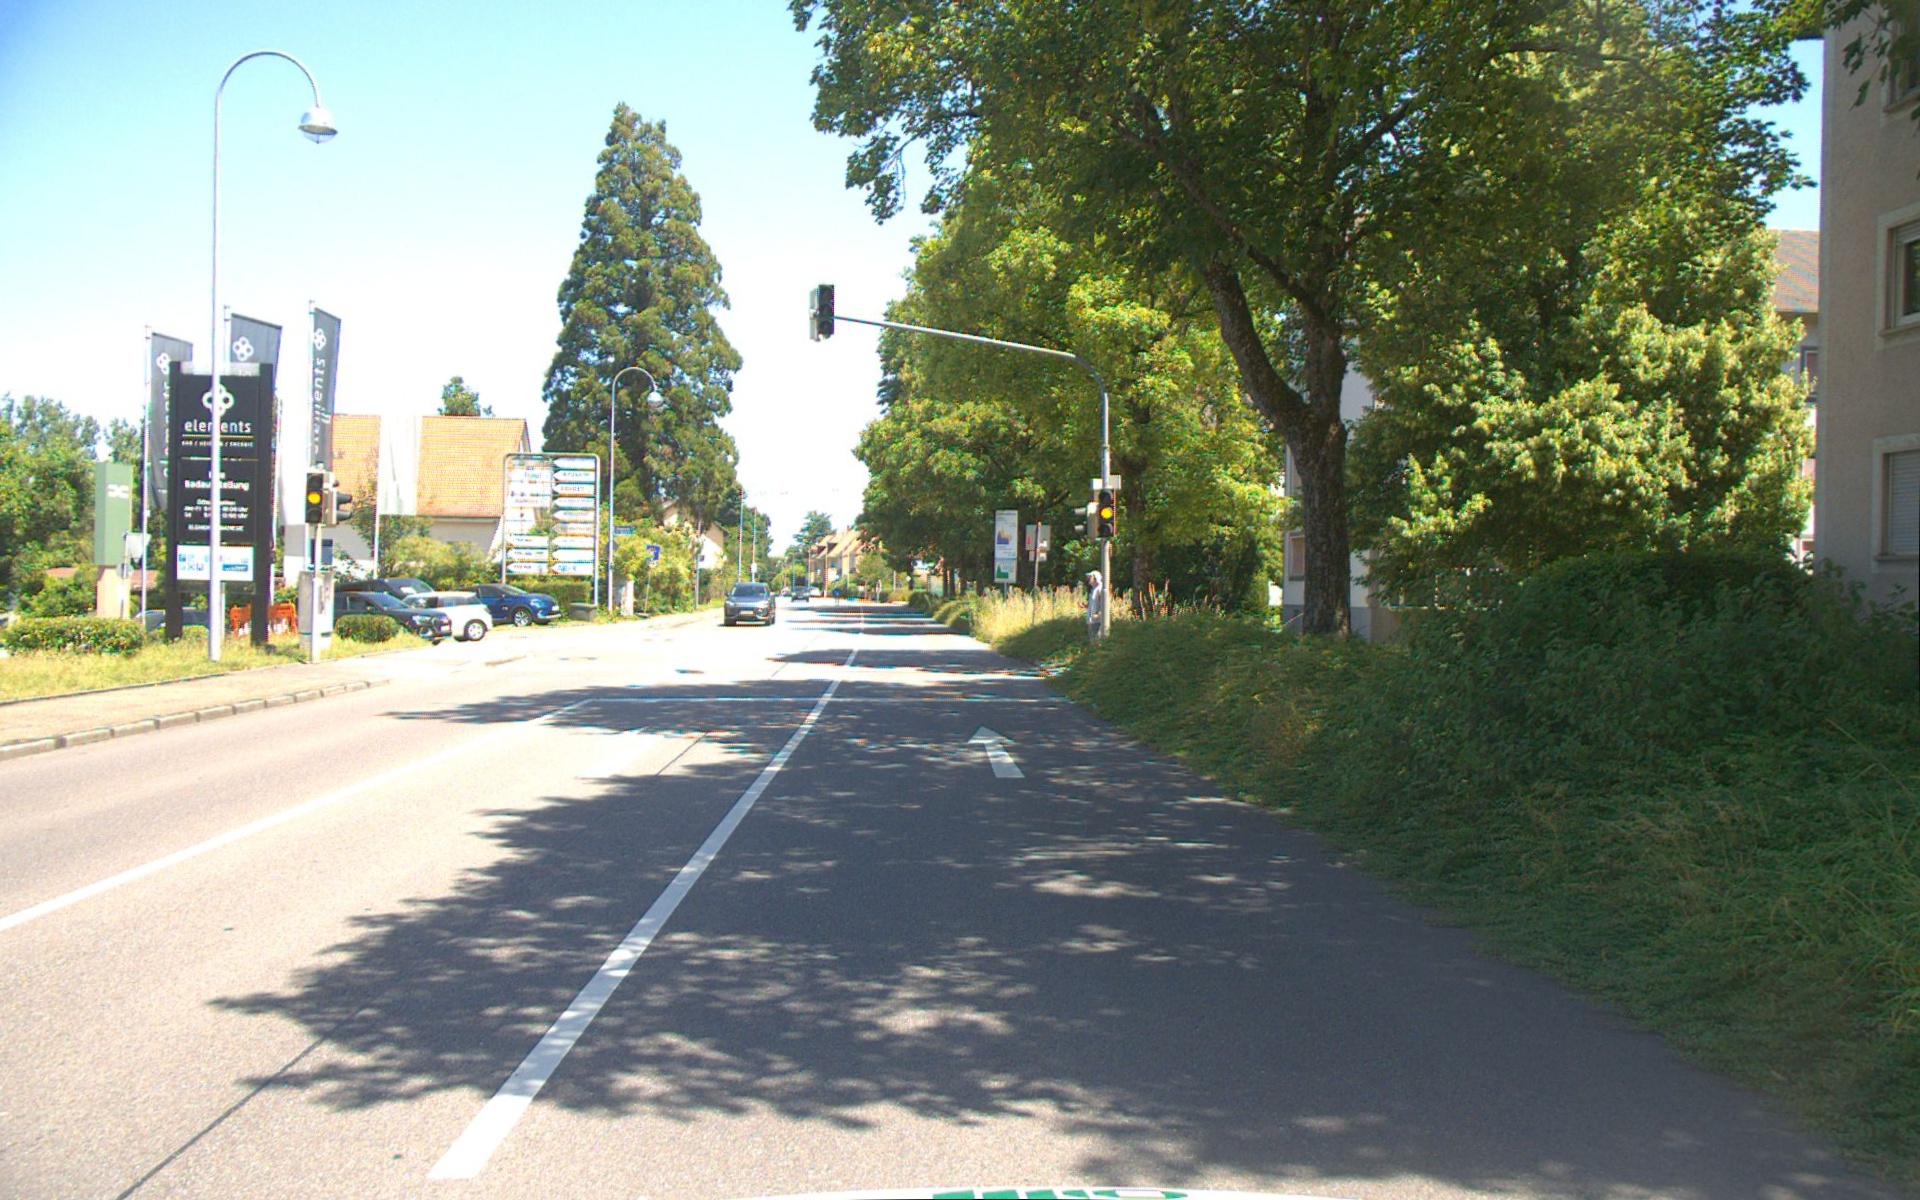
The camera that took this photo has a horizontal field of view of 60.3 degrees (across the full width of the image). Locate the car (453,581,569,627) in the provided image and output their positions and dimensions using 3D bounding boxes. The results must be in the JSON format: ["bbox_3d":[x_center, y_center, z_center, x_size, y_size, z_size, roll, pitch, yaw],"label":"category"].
[{"bbox_3d":[-15.079,0.130,55.650,3.419,1.452,1.601,1,0,0],"label":"car"}]

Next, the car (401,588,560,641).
[{"bbox_3d":[-14.382,0.411,49.614,4.252,1.513,1.979,0,0,-31],"label":"car"}]

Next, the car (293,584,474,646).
[{"bbox_3d":[-15.503,0.419,44.543,4.201,1.553,1.930,-1,0,14],"label":"car"}]

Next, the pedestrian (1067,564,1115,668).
[{"bbox_3d":[2.269,0.274,28.651,0.557,1.781,0.606,1,-1,-41],"label":"pedestrian"}]

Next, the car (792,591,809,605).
[{"bbox_3d":[-15.581,-0.218,161.962,1.402,1.345,3.354,1,0,-1],"label":"car"}]

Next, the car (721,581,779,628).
[{"bbox_3d":[-8.226,0.163,65.171,1.841,1.747,4.309,1,0,-2],"label":"car"}]
